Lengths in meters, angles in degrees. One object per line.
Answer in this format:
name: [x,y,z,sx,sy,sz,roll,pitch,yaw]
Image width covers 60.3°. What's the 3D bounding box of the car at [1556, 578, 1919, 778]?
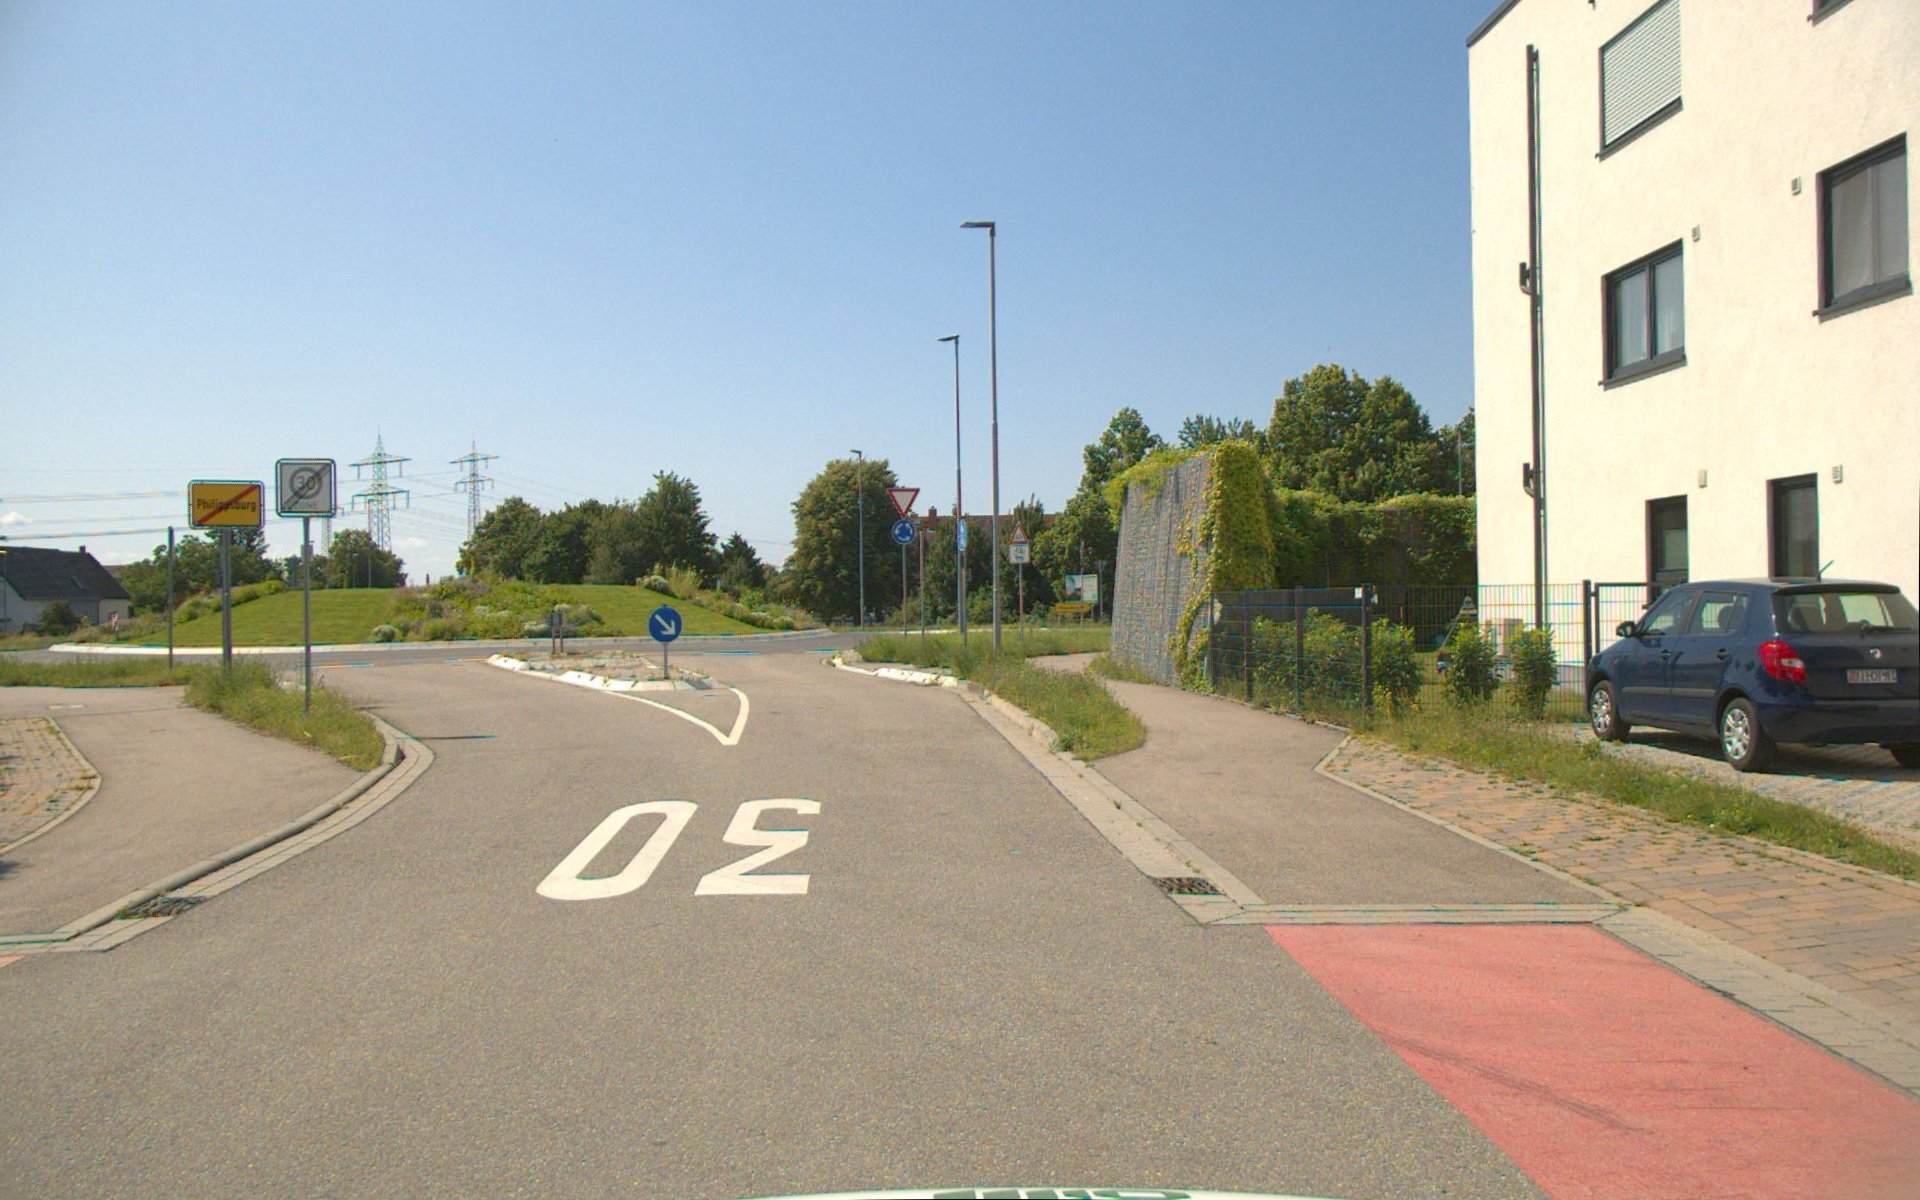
car: [6.880,0.566,14.514,1.644,1.495,4.114,0,0,-3]
